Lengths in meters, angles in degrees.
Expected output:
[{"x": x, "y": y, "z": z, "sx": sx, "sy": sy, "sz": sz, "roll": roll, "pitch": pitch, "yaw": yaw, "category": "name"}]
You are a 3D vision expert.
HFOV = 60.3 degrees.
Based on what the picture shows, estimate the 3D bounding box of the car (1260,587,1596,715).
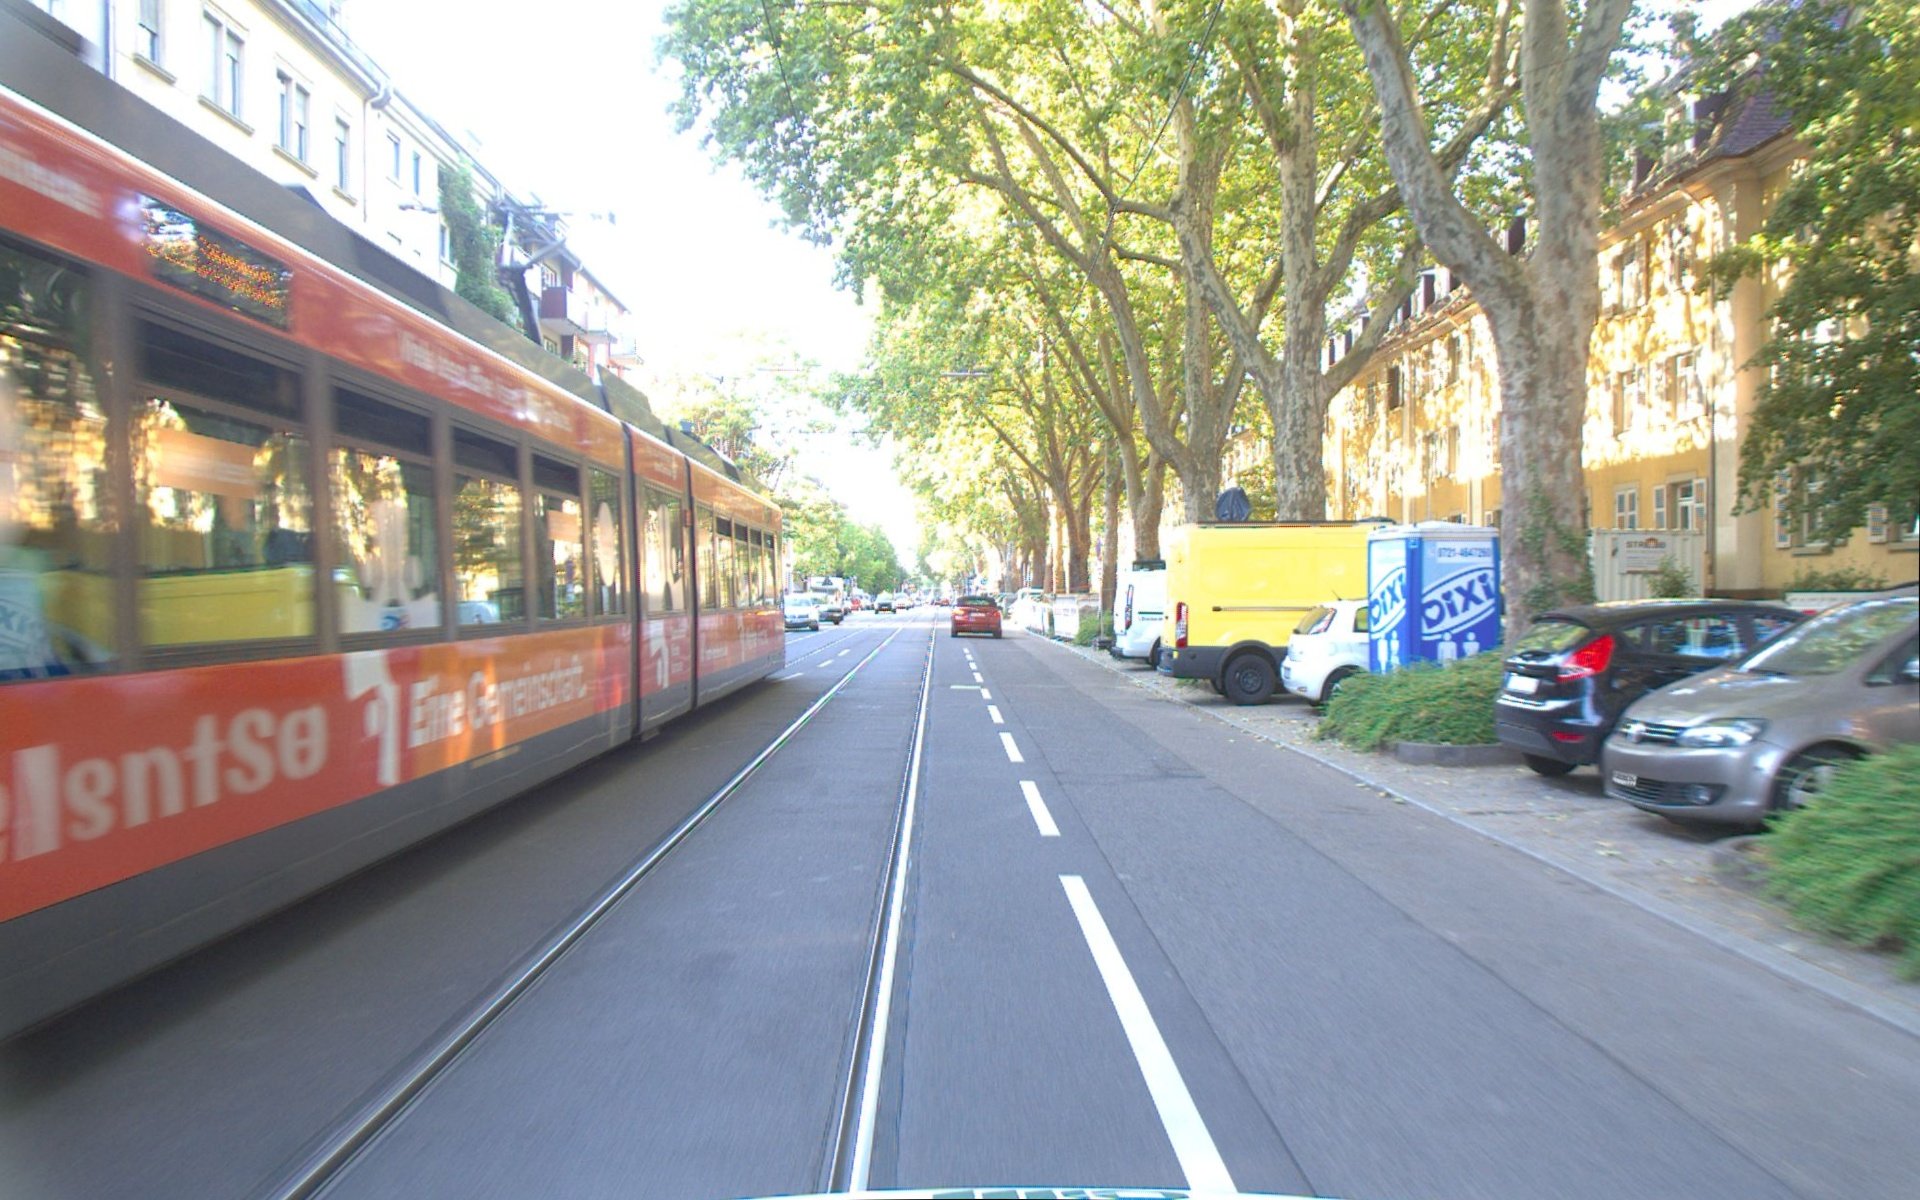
[{"x": 5.964, "y": 0.620, "z": 21.405, "sx": 3.825, "sy": 1.515, "sz": 1.863, "roll": -1, "pitch": 0, "yaw": 1, "category": "car"}]

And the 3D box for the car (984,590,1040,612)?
[{"x": 4.231, "y": 0.066, "z": 134.014, "sx": 4.402, "sy": 1.630, "sz": 2.028, "roll": -2, "pitch": 0, "yaw": 3, "category": "car"}]

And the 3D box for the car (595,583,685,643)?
[{"x": -9.698, "y": 0.388, "z": 50.445, "sx": 1.913, "sy": 1.677, "sz": 4.880, "roll": 1, "pitch": 0, "yaw": -2, "category": "car"}]

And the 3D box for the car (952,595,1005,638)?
[{"x": 0.604, "y": 0.541, "z": 57.403, "sx": 1.756, "sy": 1.413, "sz": 4.236, "roll": 1, "pitch": 0, "yaw": 0, "category": "car"}]

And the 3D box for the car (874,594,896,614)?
[{"x": -6.446, "y": 0.342, "z": 142.762, "sx": 1.816, "sy": 1.628, "sz": 4.462, "roll": -2, "pitch": 0, "yaw": -2, "category": "car"}]

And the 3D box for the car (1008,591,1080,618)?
[{"x": 4.808, "y": 0.263, "z": 94.981, "sx": 4.005, "sy": 1.548, "sz": 1.916, "roll": -1, "pitch": -1, "yaw": -2, "category": "car"}]

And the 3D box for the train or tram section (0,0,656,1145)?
[{"x": -4.060, "y": -0.317, "z": 8.041, "sx": 2.849, "sy": 3.547, "sz": 13.367, "roll": -1, "pitch": 0, "yaw": -1, "category": "train or tram section"}]

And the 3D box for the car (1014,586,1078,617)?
[{"x": 5.164, "y": 0.069, "z": 99.269, "sx": 3.764, "sy": 1.803, "sz": 1.917, "roll": -1, "pitch": 0, "yaw": 3, "category": "car"}]

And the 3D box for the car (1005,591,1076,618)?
[{"x": 4.938, "y": 0.266, "z": 101.290, "sx": 4.279, "sy": 1.569, "sz": 1.802, "roll": -1, "pitch": 1, "yaw": 3, "category": "car"}]

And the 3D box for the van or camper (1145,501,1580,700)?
[{"x": 5.736, "y": 0.021, "z": 24.223, "sx": 5.803, "sy": 2.675, "sz": 2.270, "roll": -1, "pitch": -1, "yaw": 1, "category": "van or camper"}]

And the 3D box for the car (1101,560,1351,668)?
[{"x": 5.363, "y": 0.263, "z": 33.802, "sx": 4.736, "sy": 2.048, "sz": 2.063, "roll": -1, "pitch": 0, "yaw": -1, "category": "car"}]

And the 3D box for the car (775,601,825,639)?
[{"x": -6.699, "y": 0.818, "z": 69.529, "sx": 1.759, "sy": 1.471, "sz": 4.715, "roll": 1, "pitch": 0, "yaw": -2, "category": "car"}]

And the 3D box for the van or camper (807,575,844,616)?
[{"x": -10.685, "y": -0.325, "z": 132.291, "sx": 2.290, "sy": 3.094, "sz": 6.397, "roll": 3, "pitch": 0, "yaw": 0, "category": "van or camper"}]

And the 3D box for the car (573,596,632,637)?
[{"x": -19.821, "y": 0.909, "z": 91.527, "sx": 1.971, "sy": 2.160, "sz": 4.678, "roll": 0, "pitch": -1, "yaw": -29, "category": "car"}]

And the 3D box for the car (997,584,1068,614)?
[{"x": 4.993, "y": -0.046, "z": 114.760, "sx": 4.740, "sy": 1.997, "sz": 2.063, "roll": -1, "pitch": 0, "yaw": -3, "category": "car"}]

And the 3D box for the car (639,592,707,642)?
[{"x": -9.686, "y": 0.560, "z": 55.988, "sx": 1.592, "sy": 1.599, "sz": 3.781, "roll": -1, "pitch": 0, "yaw": 0, "category": "car"}]

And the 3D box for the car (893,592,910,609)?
[{"x": -6.560, "y": 0.068, "z": 186.768, "sx": 1.853, "sy": 1.864, "sz": 4.894, "roll": -1, "pitch": 0, "yaw": -1, "category": "car"}]

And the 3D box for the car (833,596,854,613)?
[{"x": -10.970, "y": 0.406, "z": 155.496, "sx": 1.799, "sy": 1.494, "sz": 5.067, "roll": 2, "pitch": 0, "yaw": -3, "category": "car"}]

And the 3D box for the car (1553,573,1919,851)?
[{"x": 6.159, "y": 0.618, "z": 10.650, "sx": 3.994, "sy": 1.577, "sz": 1.830, "roll": -2, "pitch": 0, "yaw": -2, "category": "car"}]

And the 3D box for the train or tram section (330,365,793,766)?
[{"x": -4.256, "y": -0.340, "z": 21.813, "sx": 2.849, "sy": 3.547, "sz": 14.195, "roll": -1, "pitch": 0, "yaw": -1, "category": "train or tram section"}]

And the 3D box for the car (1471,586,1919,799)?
[{"x": 6.127, "y": 0.670, "z": 13.081, "sx": 3.581, "sy": 1.451, "sz": 1.736, "roll": -2, "pitch": 0, "yaw": -4, "category": "car"}]

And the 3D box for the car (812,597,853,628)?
[{"x": -6.429, "y": 0.593, "z": 83.786, "sx": 1.759, "sy": 1.471, "sz": 4.052, "roll": -2, "pitch": 0, "yaw": 0, "category": "car"}]
